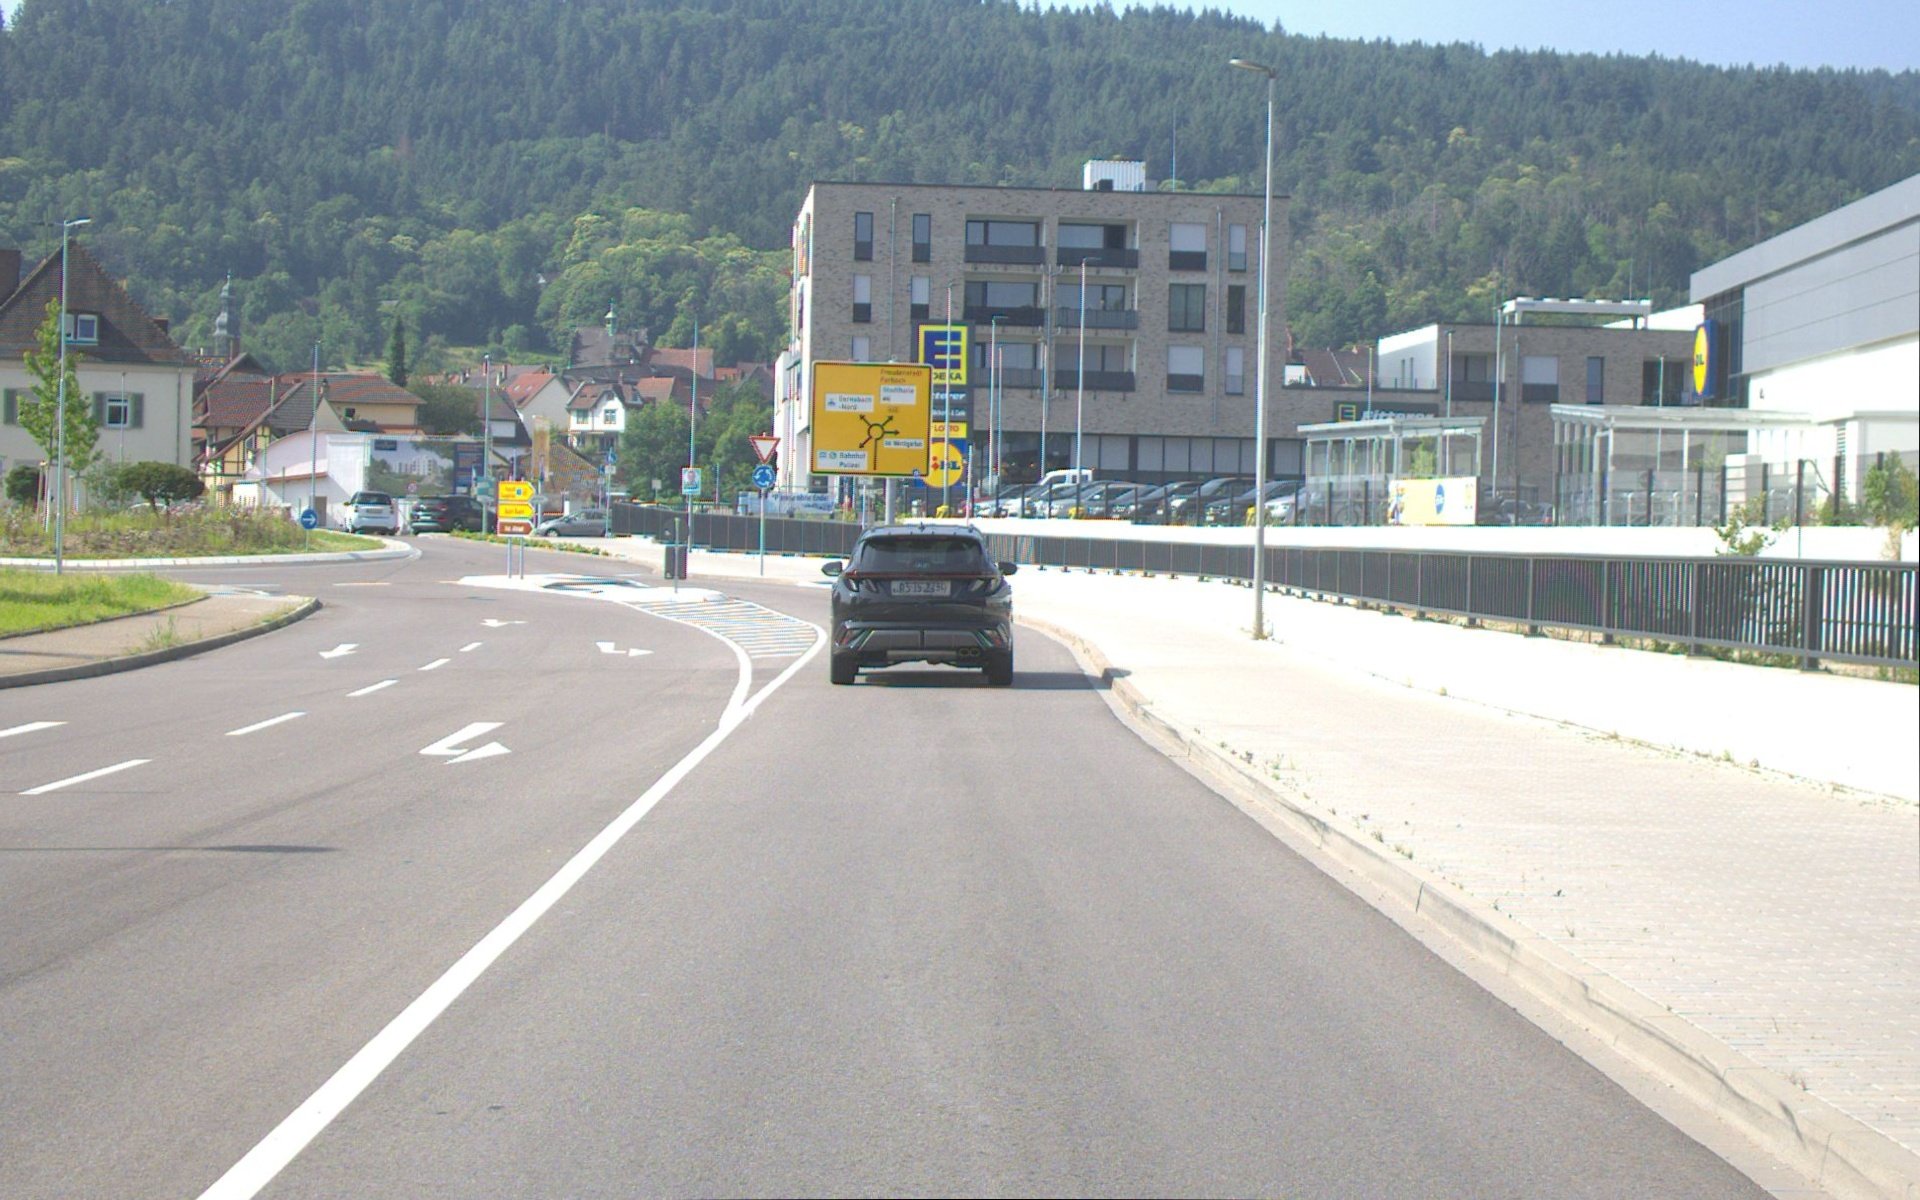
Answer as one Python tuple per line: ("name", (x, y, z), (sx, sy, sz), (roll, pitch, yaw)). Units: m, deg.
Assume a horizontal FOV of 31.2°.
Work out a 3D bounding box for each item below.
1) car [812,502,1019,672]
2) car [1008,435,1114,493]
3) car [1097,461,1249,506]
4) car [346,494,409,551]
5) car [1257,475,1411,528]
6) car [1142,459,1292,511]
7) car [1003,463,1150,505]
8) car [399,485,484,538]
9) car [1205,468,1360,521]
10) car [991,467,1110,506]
("car", (-0.523, -0.165, 36.118), (1.880, 1.678, 4.001), (0, 1, -5))
("car", (3.845, -5.158, 130.451), (3.987, 2.128, 2.000), (0, 1, 3))
("car", (6.450, -3.526, 103.940), (4.212, 1.241, 1.745), (1, 2, -19))
("car", (-20.766, -2.770, 122.703), (1.993, 2.007, 4.001), (0, 1, -6))
("car", (10.215, -2.697, 94.001), (3.804, 1.359, 1.681), (1, 2, -19))
("car", (7.509, -3.360, 100.509), (4.004, 1.399, 1.726), (1, 2, -19))
("car", (3.673, -3.659, 108.461), (4.277, 1.241, 1.665), (1, 2, -19))
("car", (-20.108, -3.421, 133.410), (1.994, 2.007, 3.998), (1, 1, 12))
("car", (9.107, -2.978, 97.008), (4.060, 1.399, 1.486), (1, 2, -19))
("car", (3.013, -3.789, 114.700), (3.554, 1.195, 1.715), (1, 2, -18))
